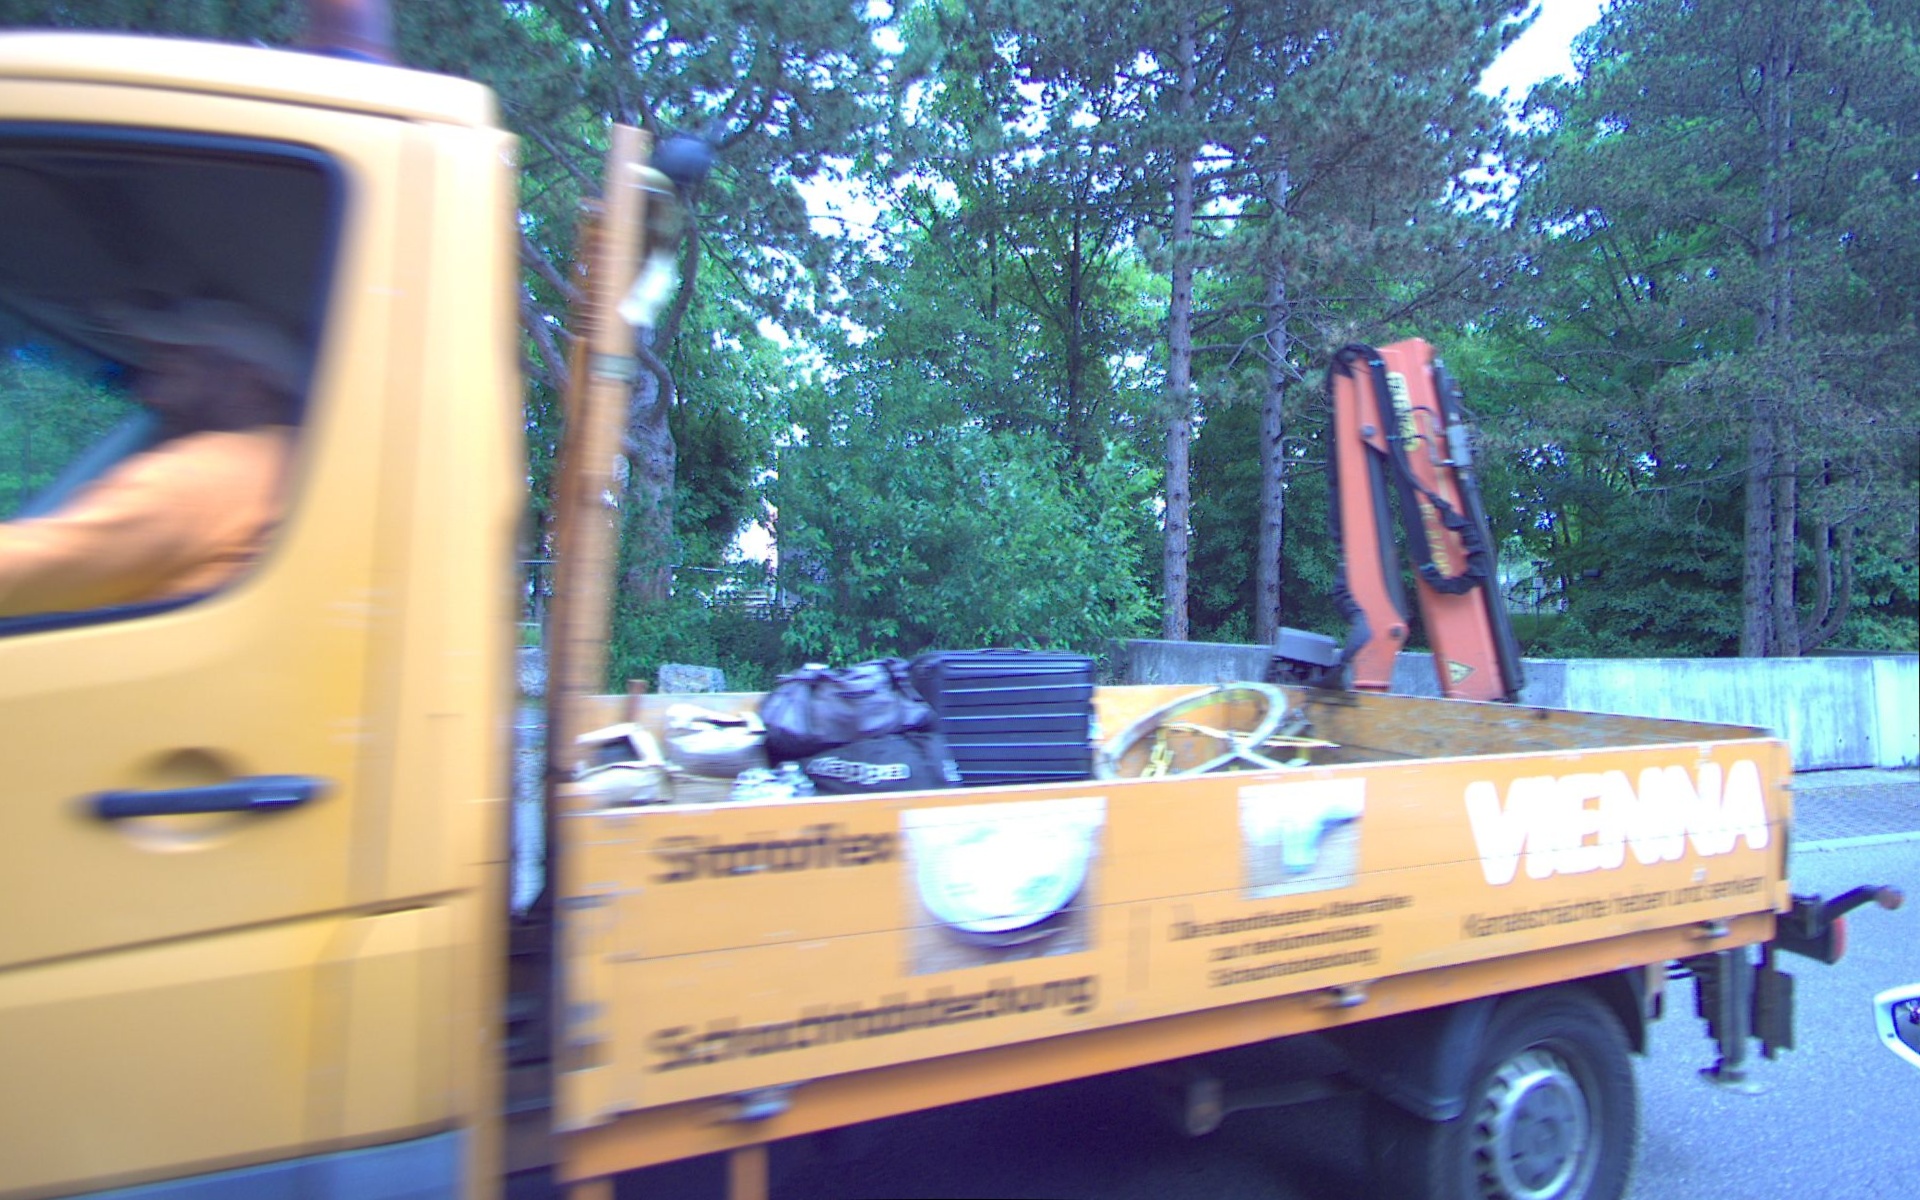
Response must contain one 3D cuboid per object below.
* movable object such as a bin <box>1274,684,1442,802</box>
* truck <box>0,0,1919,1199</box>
[{"bbox_3d":[3.352,1.156,8.437,1.127,0.770,1.047,2,0,32],"label":"movable object such as a bin"},{"bbox_3d":[-0.243,0.335,2.532,5.932,2.503,2.317,1,1,-22],"label":"truck"}]
